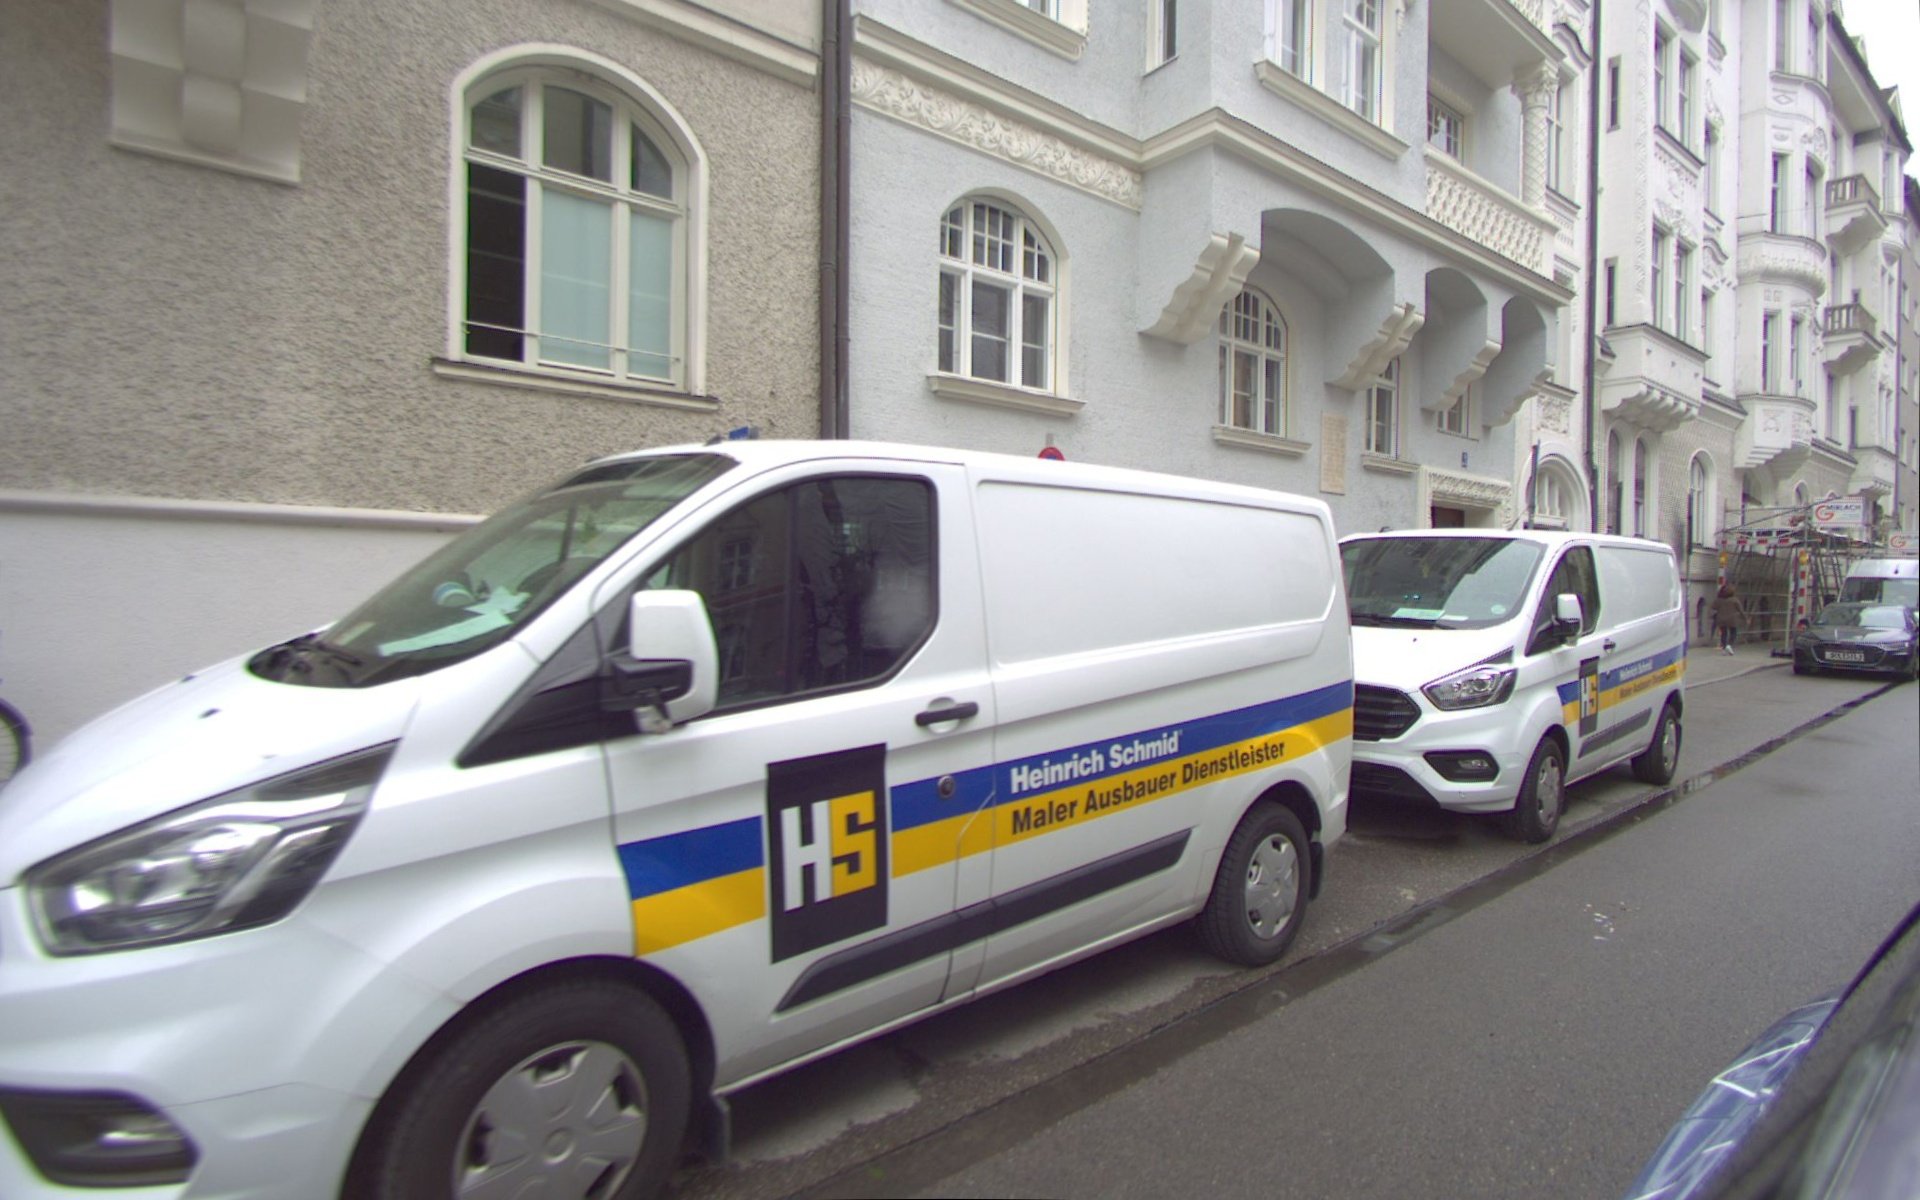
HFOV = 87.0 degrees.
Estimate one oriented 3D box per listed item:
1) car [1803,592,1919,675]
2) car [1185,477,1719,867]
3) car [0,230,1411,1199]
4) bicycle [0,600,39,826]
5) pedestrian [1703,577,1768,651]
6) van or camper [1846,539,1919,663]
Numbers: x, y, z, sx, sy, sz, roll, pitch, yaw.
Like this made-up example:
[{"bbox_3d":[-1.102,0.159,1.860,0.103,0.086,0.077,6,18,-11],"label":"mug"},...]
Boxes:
[{"bbox_3d":[18.112,0.577,19.922,4.017,1.452,1.756,0,1,-42],"label":"car"},{"bbox_3d":[3.976,0.342,7.677,4.908,2.039,1.962,0,1,-42],"label":"car"},{"bbox_3d":[-0.363,0.402,3.816,4.908,1.961,1.962,0,1,-42],"label":"car"},{"bbox_3d":[-5.742,0.572,4.792,2.000,1.107,0.696,0,3,-40],"label":"bicycle"},{"bbox_3d":[17.446,0.287,22.760,0.999,1.573,0.922,-2,4,-41],"label":"pedestrian"},{"bbox_3d":[22.567,-0.008,23.725,5.362,2.670,1.957,0,1,-41],"label":"van or camper"}]
